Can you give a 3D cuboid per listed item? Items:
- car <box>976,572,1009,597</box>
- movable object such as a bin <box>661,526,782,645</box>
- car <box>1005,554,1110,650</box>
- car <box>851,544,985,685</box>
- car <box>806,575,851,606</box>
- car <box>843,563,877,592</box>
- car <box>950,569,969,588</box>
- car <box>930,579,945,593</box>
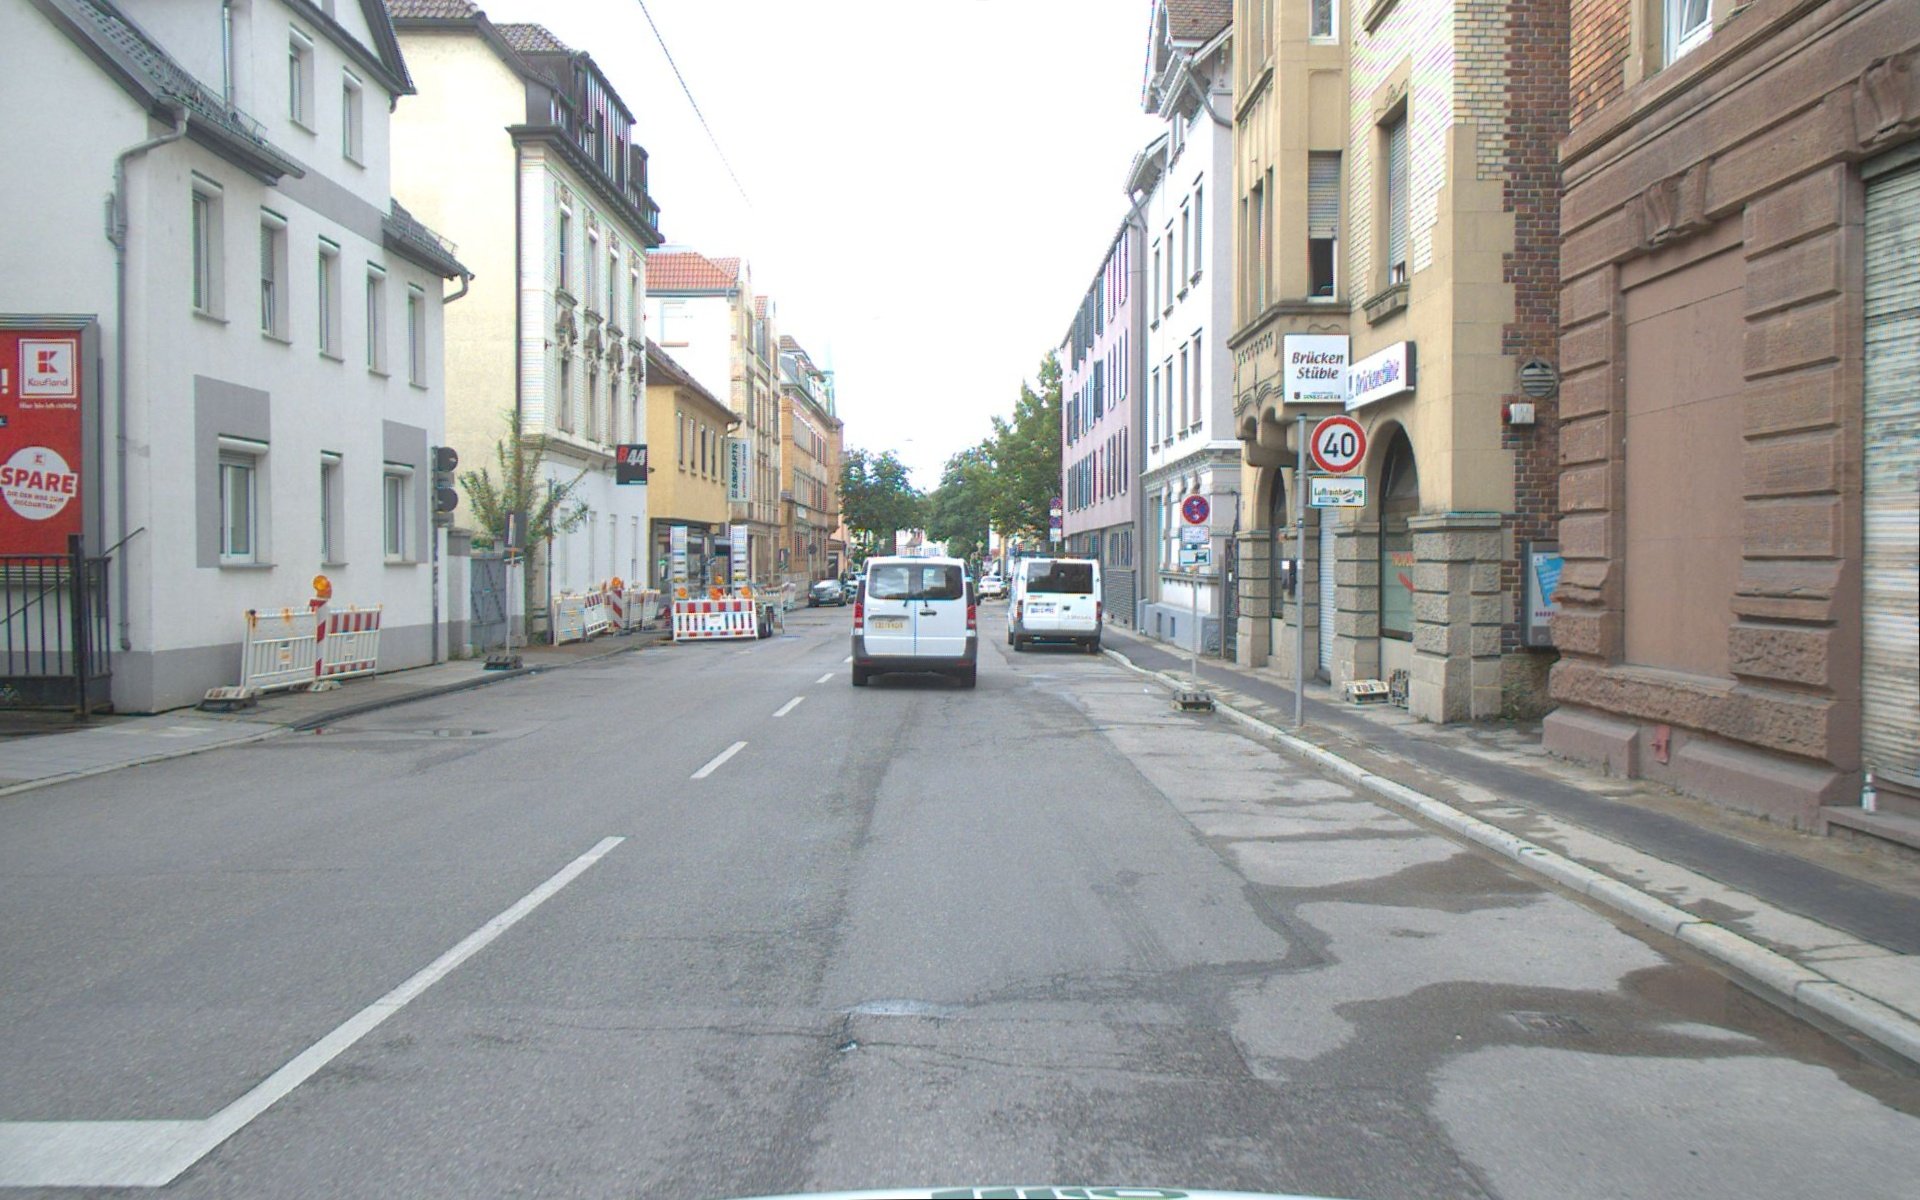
[{"bbox_3d":[2.117,-1.035,108.913,1.953,1.511,4.000,3,1,-1],"label":"car"},{"bbox_3d":[-6.193,-0.408,43.555,2.486,2.874,4.538,-2,1,-1],"label":"movable object such as a bin"},{"bbox_3d":[2.176,-0.003,38.237,2.085,2.040,4.926,1,1,0],"label":"car"},{"bbox_3d":[-0.746,0.209,25.630,1.854,1.962,4.641,-1,0,-4],"label":"car"},{"bbox_3d":[-6.657,-0.524,83.995,1.953,1.467,4.000,-2,1,-1],"label":"car"},{"bbox_3d":[-6.561,-1.465,108.796,1.953,1.771,4.000,3,1,-1],"label":"car"},{"bbox_3d":[-0.005,-2.313,180.238,1.952,2.049,4.001,-1,0,1],"label":"car"},{"bbox_3d":[-2.772,-1.726,203.218,1.718,1.702,3.669,-1,0,1],"label":"car"}]
